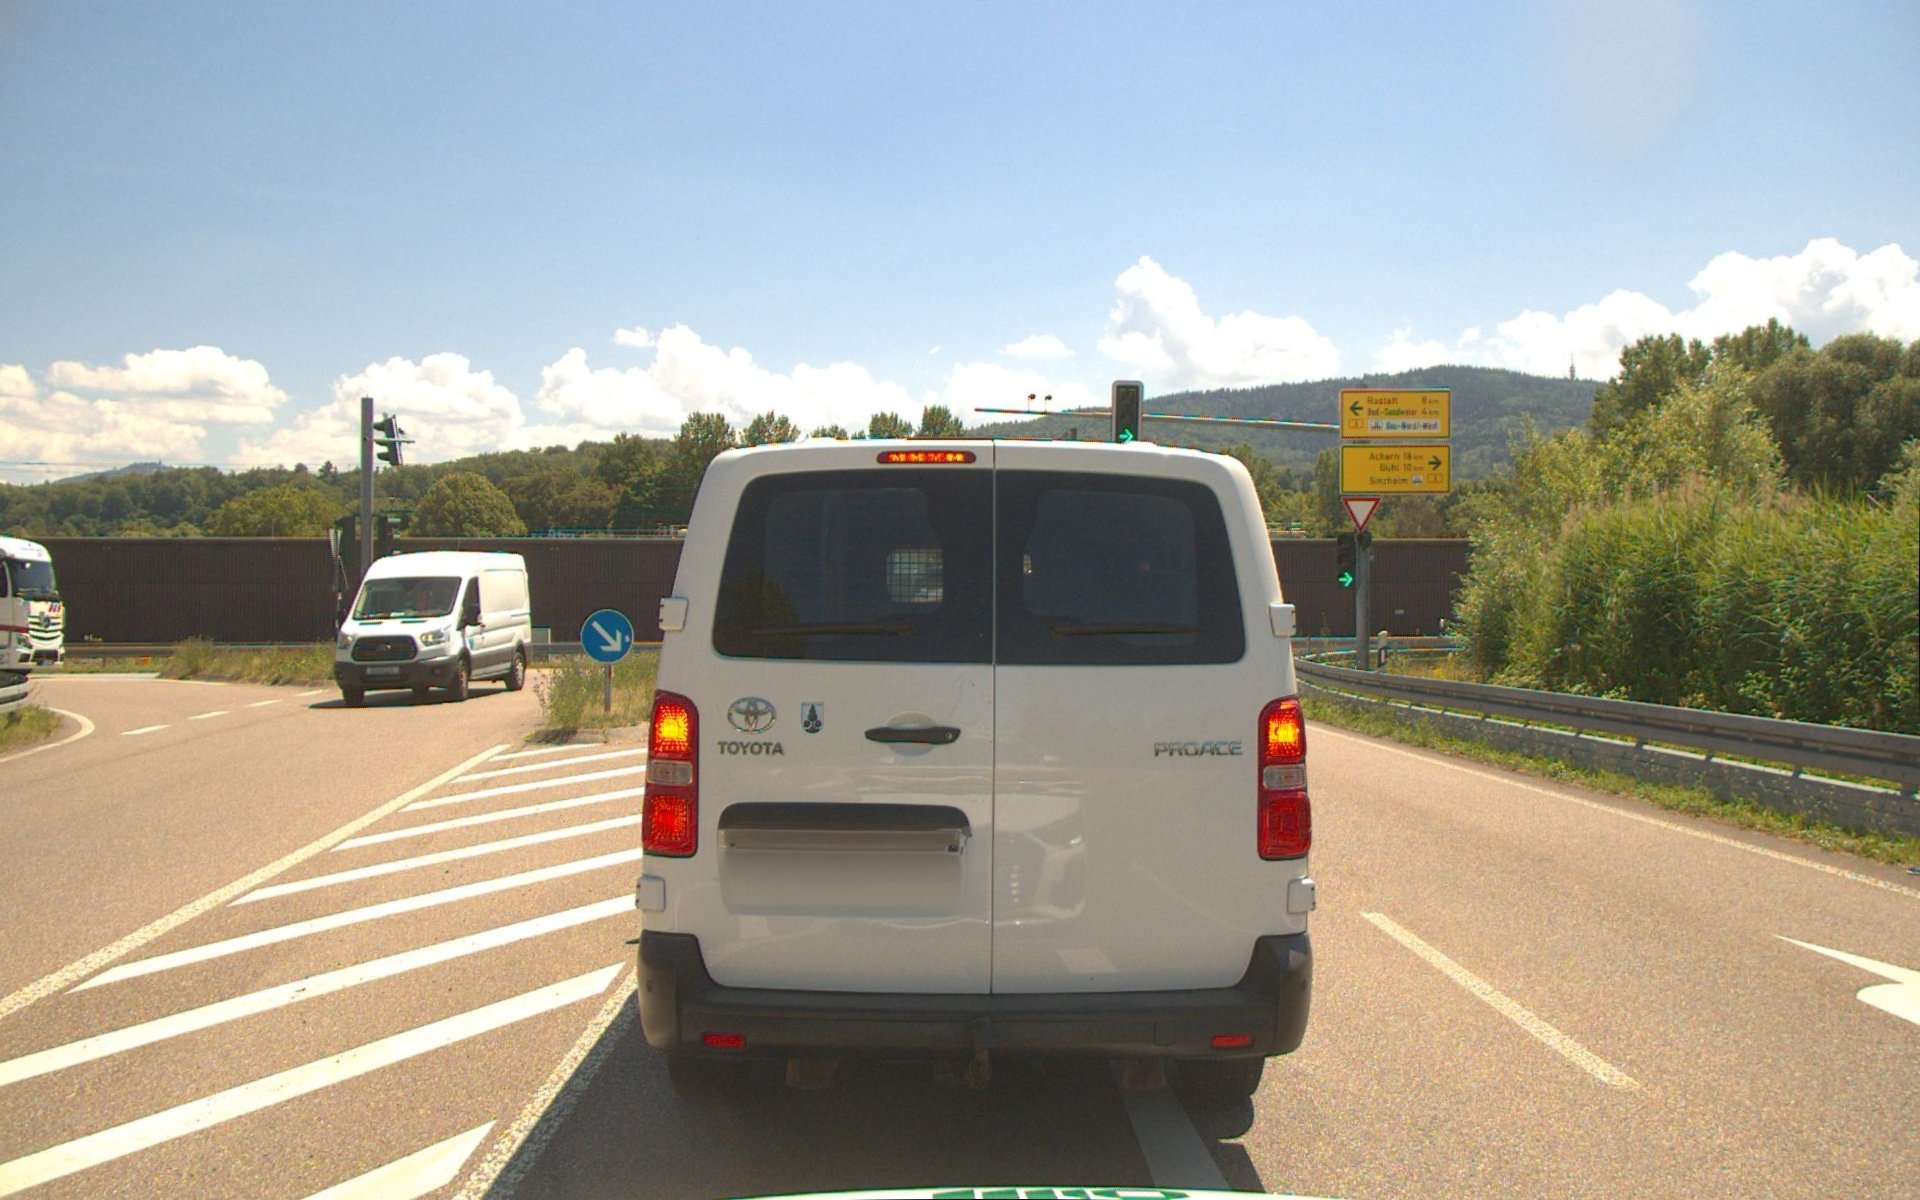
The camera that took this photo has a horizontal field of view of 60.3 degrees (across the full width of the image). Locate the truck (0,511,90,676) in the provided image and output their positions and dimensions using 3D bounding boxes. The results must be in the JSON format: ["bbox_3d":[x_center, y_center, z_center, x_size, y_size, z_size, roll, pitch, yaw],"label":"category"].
[{"bbox_3d":[-25.610,-0.160,41.742,5.649,4.024,3.061,0,-1,-3],"label":"truck"}]

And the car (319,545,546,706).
[{"bbox_3d":[-8.982,0.393,28.747,1.952,2.458,5.591,-2,0,2],"label":"car"}]

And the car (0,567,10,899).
[{"bbox_3d":[-5.596,0.692,6.448,1.703,1.715,4.203,-1,0,-6],"label":"car"}]

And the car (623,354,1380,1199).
[{"bbox_3d":[0.073,0.461,5.891,1.778,2.053,3.999,0,0,-1],"label":"car"}]
